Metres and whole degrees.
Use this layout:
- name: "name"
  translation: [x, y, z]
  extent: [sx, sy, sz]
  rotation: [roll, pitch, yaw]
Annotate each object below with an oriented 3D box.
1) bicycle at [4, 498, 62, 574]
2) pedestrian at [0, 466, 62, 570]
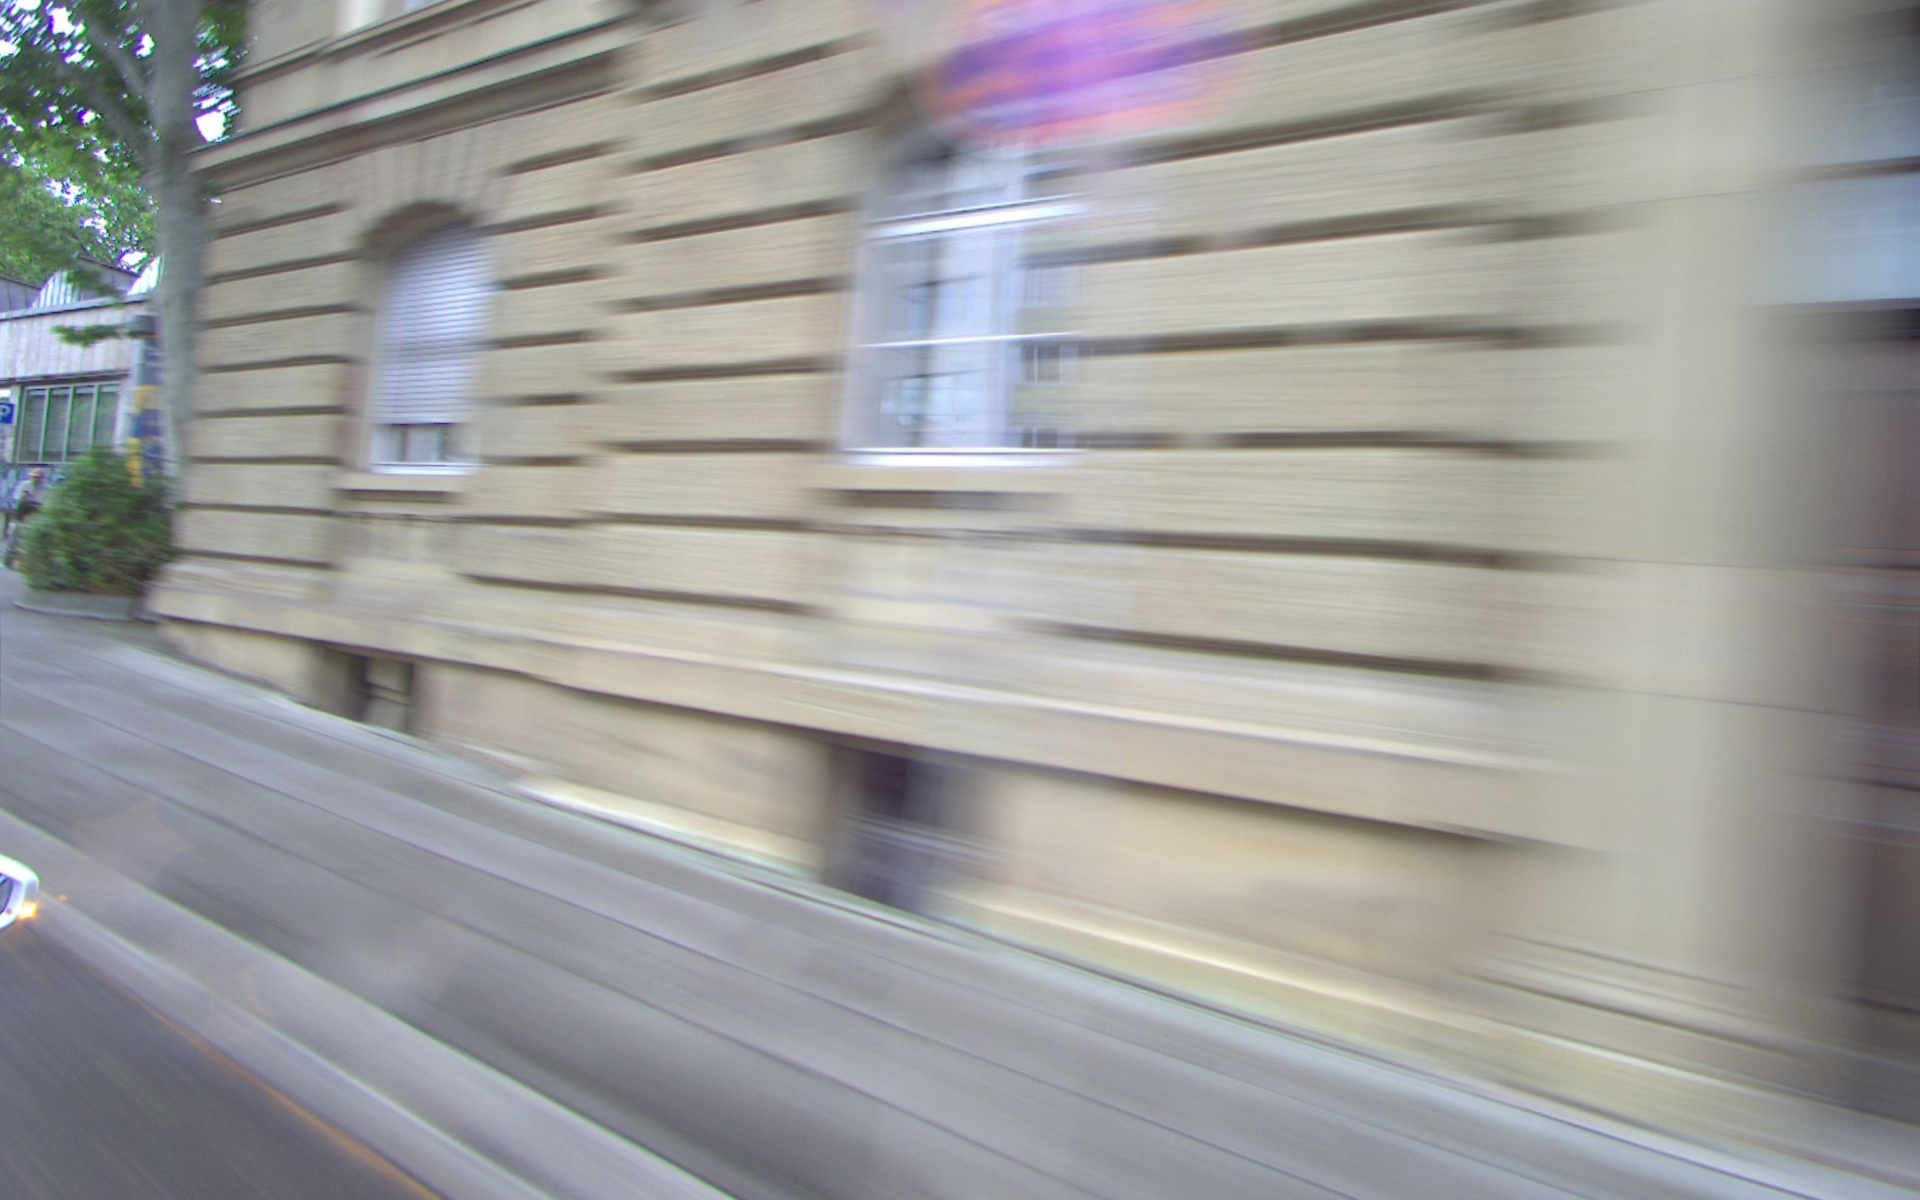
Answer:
- name: "bicycle"
  translation: [-16.293, -1.126, 17.674]
  extent: [0.898, 1.236, 0.617]
  rotation: [7, 2, 43]
- name: "pedestrian"
  translation: [-16.960, -1.497, 18.347]
  extent: [1.005, 1.765, 0.716]
  rotation: [8, 3, 43]
